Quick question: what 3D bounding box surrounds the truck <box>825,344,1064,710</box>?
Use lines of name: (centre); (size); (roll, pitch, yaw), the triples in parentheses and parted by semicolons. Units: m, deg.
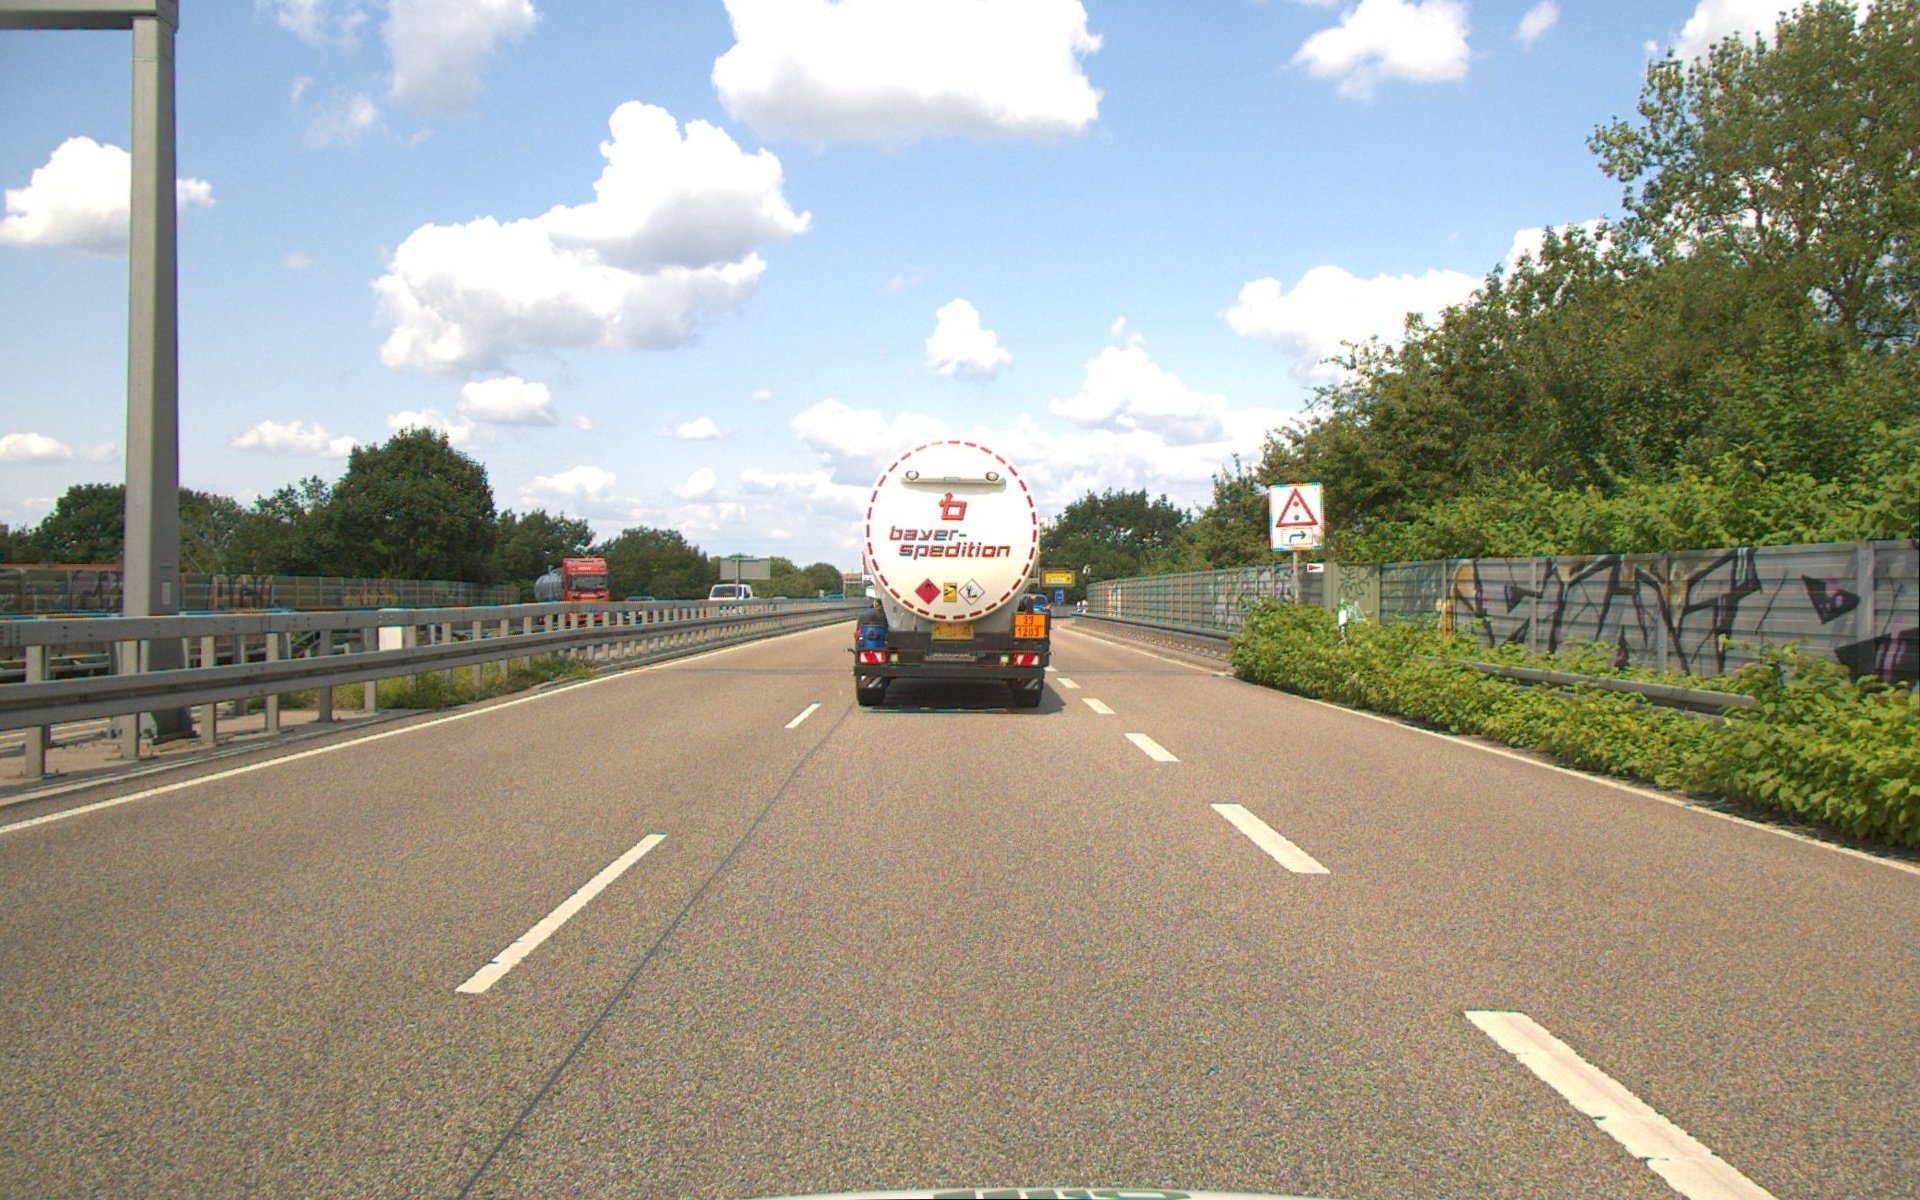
truck: (-0.225, -0.883, 24.422); (2.836, 4.445, 8.028); (1, 0, -1)

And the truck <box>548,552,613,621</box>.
truck: (-22.194, -0.769, 96.581); (2.612, 3.848, 6.190); (2, 0, -22)

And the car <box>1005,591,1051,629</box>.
car: (3.251, 0.484, 79.765); (1.953, 1.736, 3.999); (2, 0, -1)

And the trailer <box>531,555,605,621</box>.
trailer: (-24.183, -0.723, 101.580); (2.648, 3.734, 10.952); (2, 0, -22)

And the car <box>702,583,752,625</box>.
car: (-11.923, 0.192, 84.888); (2.038, 2.024, 5.226); (2, 0, -3)

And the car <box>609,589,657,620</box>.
car: (-16.164, 0.213, 81.895); (1.655, 1.456, 4.400); (2, 0, -3)
